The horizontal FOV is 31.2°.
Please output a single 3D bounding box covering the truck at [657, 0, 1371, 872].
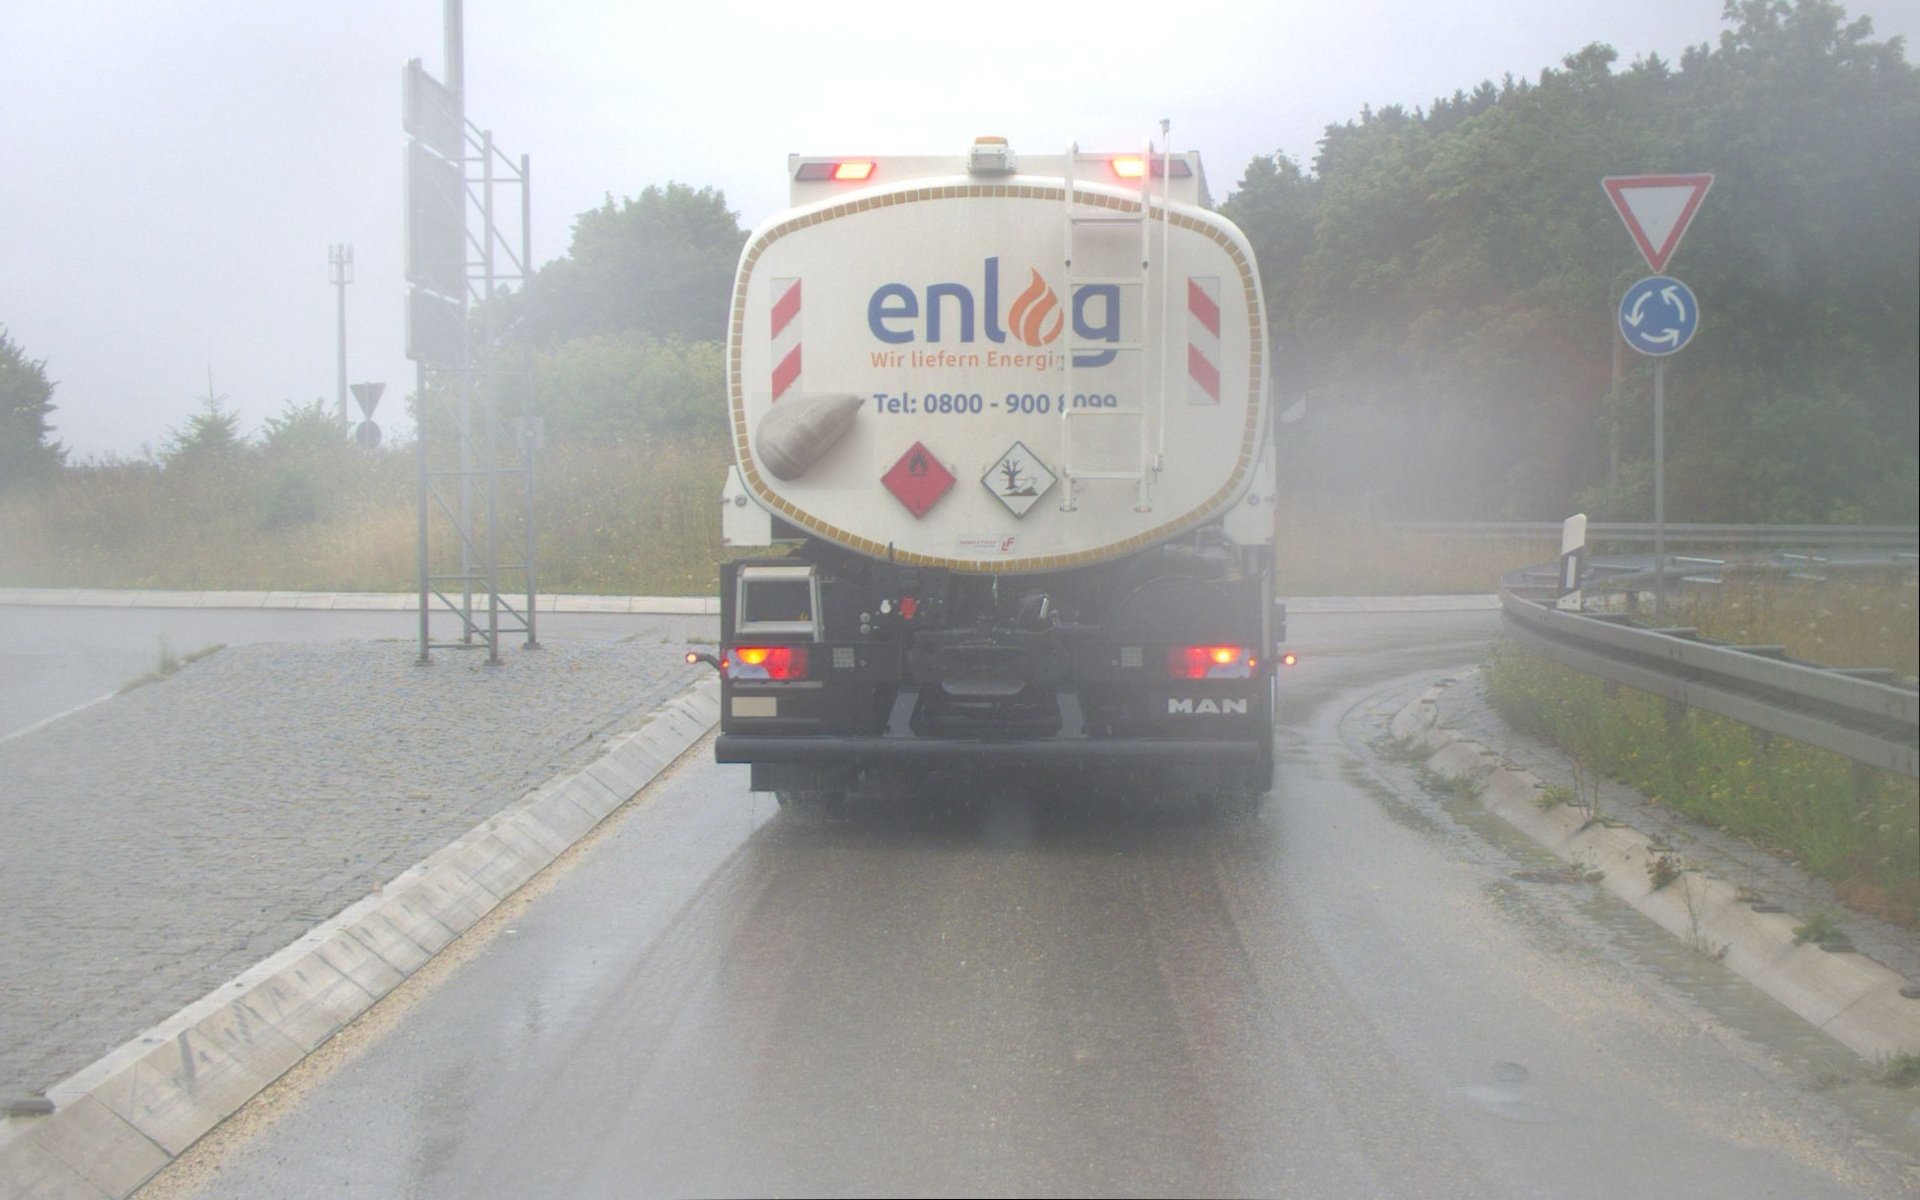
[{"bbox_3d":[0.509,-0.901,19.173,3.039,3.838,8.822,1,2,4],"label":"truck"}]
